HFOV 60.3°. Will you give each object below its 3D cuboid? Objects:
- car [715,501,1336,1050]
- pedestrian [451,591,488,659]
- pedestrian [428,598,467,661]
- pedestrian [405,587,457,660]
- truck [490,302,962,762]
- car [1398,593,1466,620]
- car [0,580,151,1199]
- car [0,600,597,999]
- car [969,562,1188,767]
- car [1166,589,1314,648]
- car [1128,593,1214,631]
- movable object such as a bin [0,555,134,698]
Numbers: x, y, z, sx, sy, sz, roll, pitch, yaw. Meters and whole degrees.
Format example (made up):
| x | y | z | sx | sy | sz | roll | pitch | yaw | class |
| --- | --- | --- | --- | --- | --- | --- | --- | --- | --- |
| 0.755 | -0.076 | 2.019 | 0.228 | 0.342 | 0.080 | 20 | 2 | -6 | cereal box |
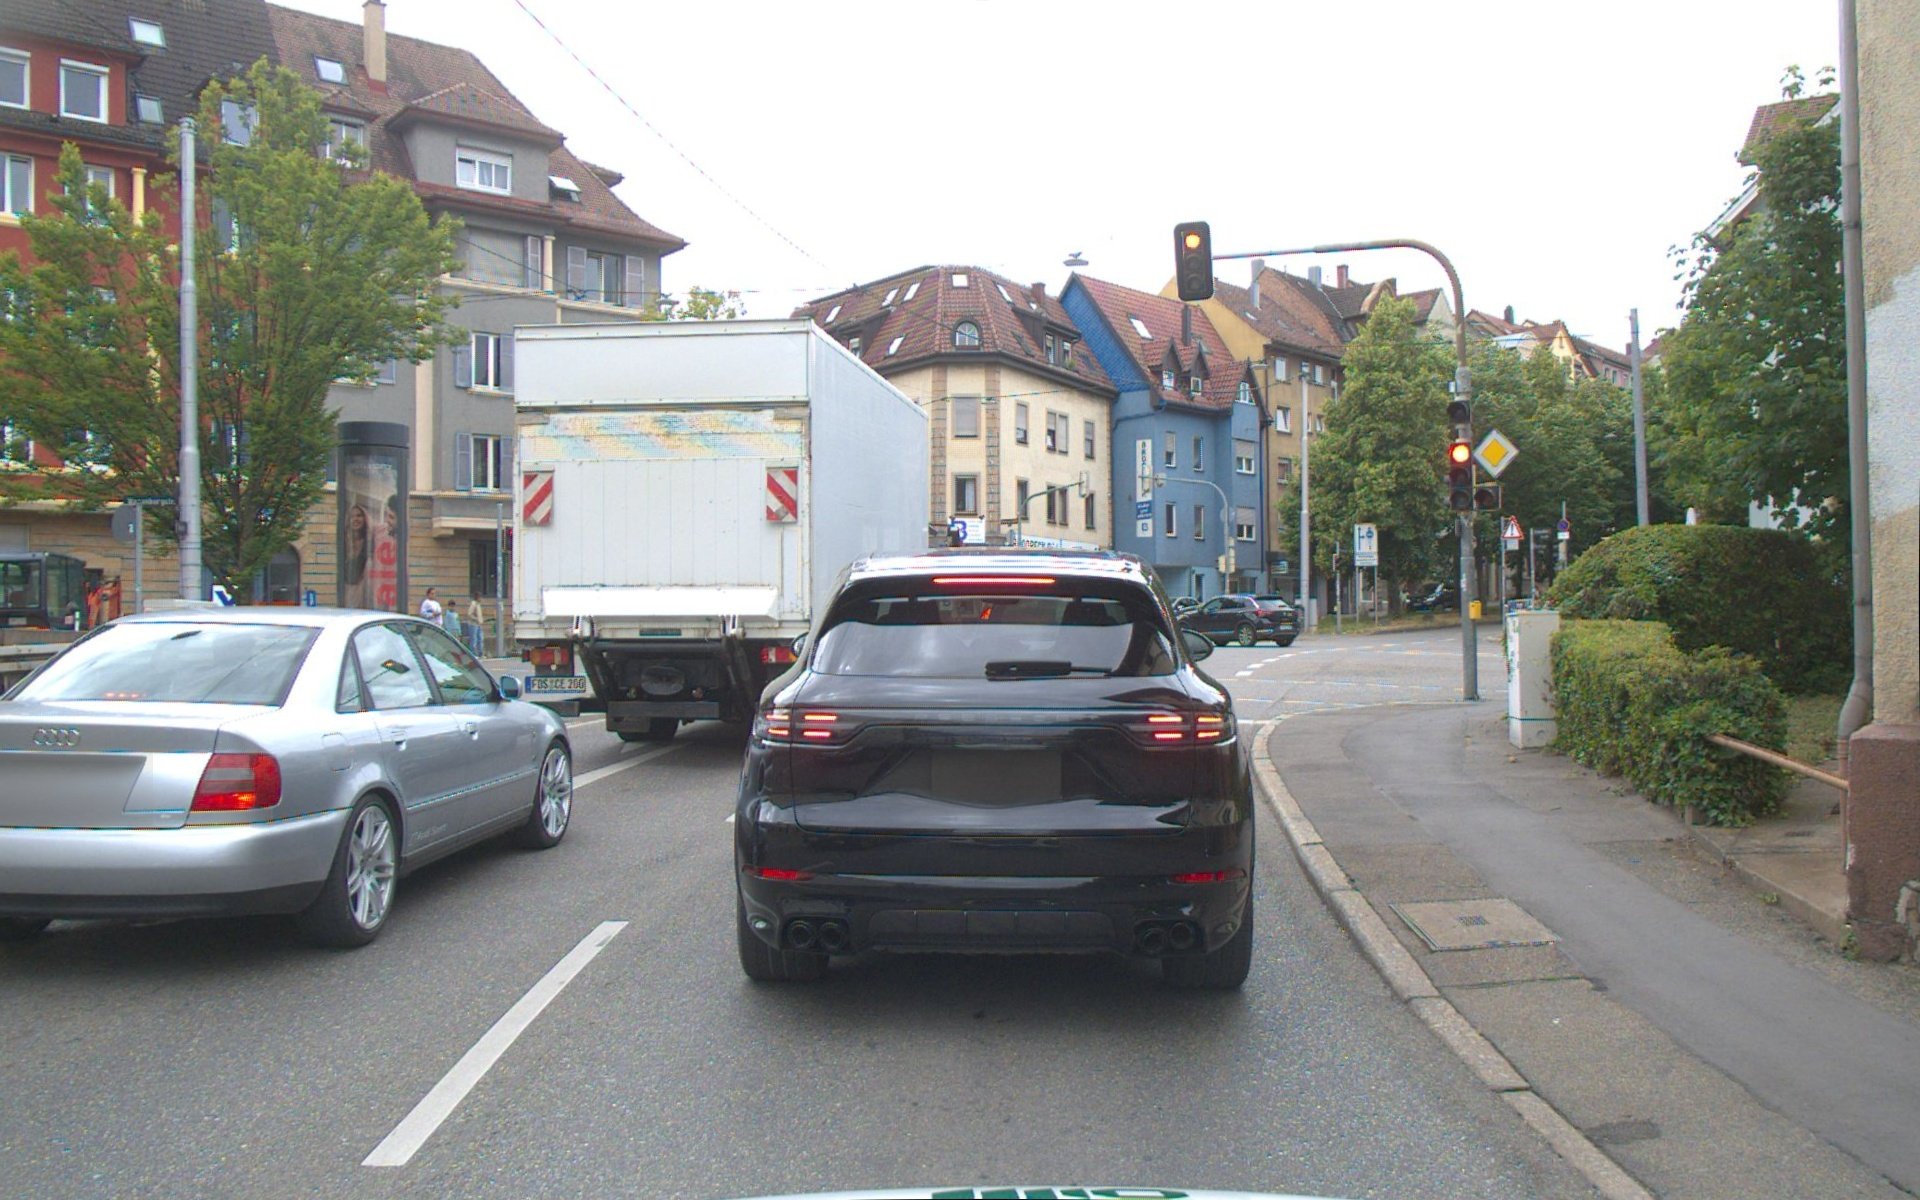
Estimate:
| x | y | z | sx | sy | sz | roll | pitch | yaw | class |
| --- | --- | --- | --- | --- | --- | --- | --- | --- | --- |
| 0.187 | 0.572 | 7.614 | 1.990 | 1.753 | 4.499 | 1 | 0 | -1 | car |
| -11.089 | 0.552 | 37.381 | 0.648 | 1.513 | 0.515 | -1 | 0 | -43 | pedestrian |
| -11.411 | 0.651 | 36.817 | 0.564 | 1.361 | 0.582 | -1 | 0 | 34 | pedestrian |
| -11.532 | 0.510 | 36.082 | 0.777 | 1.573 | 0.738 | -1 | 0 | 26 | pedestrian |
| -1.883 | -0.545 | 17.306 | 2.667 | 3.606 | 8.428 | -1 | 0 | 8 | truck |
| 25.999 | 0.362 | 91.049 | 1.841 | 1.441 | 4.673 | 1 | 0 | 40 | car |
| -2.718 | 0.713 | 1.174 | 1.953 | 1.454 | 4.841 | -1 | 0 | -1 | car |
| -3.115 | 0.718 | 7.973 | 1.594 | 1.389 | 4.130 | -1 | 0 | 3 | car |
| 1.174 | 0.513 | 14.806 | 1.613 | 1.583 | 3.586 | 1 | 0 | 9 | car |
| 8.129 | 0.526 | 48.278 | 1.979 | 1.556 | 3.946 | 1 | 1 | -38 | car |
| 9.120 | 0.541 | 71.242 | 1.690 | 1.502 | 4.197 | 0 | -2 | 39 | car |
| -13.956 | 0.376 | 25.477 | 1.351 | 2.049 | 3.525 | -1 | 0 | -12 | movable object such as a bin |
